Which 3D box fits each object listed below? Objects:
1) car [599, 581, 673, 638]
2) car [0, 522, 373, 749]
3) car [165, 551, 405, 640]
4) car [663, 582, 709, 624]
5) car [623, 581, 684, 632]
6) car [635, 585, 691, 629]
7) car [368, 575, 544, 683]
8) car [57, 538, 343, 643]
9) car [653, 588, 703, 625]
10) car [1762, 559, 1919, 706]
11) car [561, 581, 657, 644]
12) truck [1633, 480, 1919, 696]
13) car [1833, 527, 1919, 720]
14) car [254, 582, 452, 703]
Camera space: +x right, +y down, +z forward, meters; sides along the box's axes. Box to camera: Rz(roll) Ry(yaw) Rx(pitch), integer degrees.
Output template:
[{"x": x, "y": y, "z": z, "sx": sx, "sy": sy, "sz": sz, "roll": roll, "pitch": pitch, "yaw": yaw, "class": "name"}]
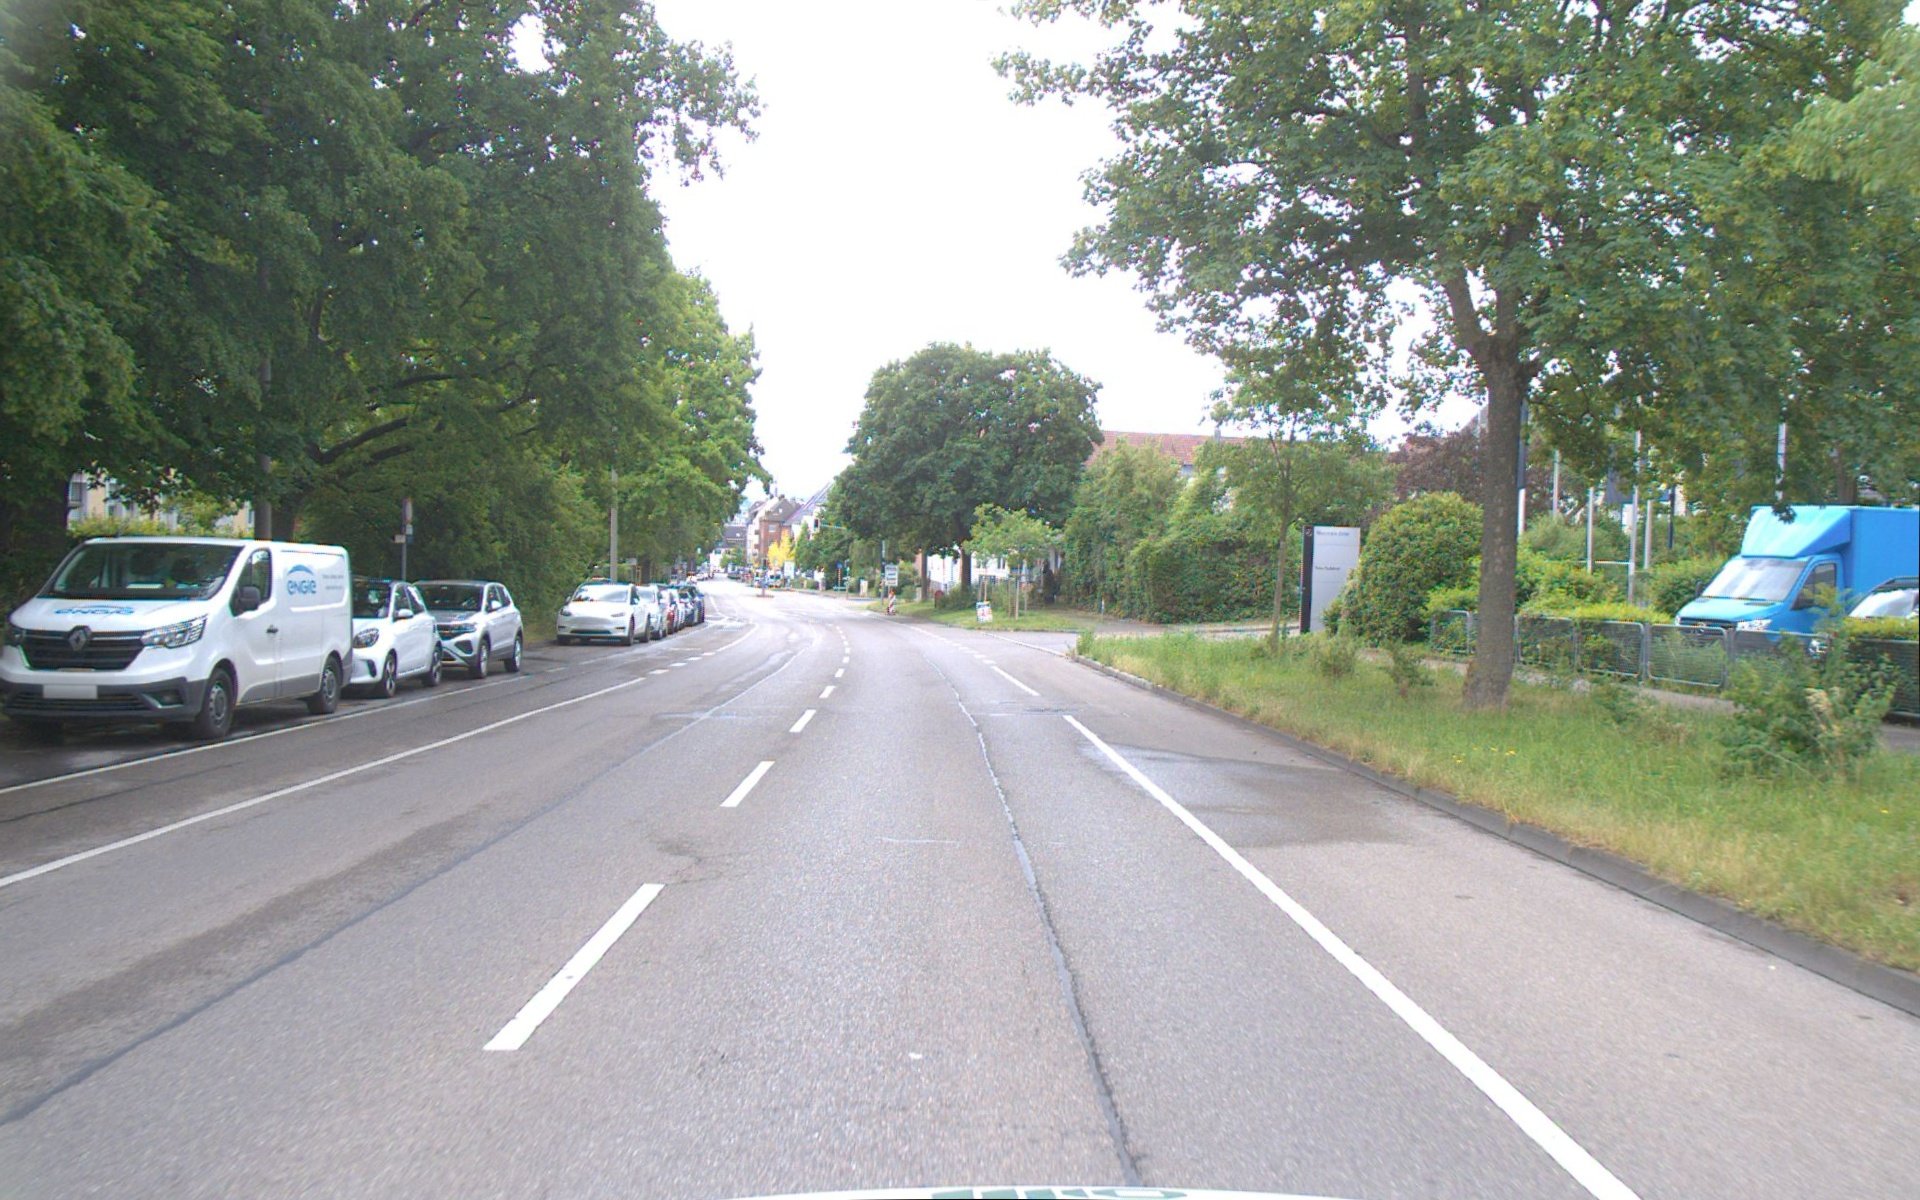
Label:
[{"x": -9.704, "y": 0.283, "z": 49.835, "sx": 1.833, "sy": 1.600, "sz": 4.114, "roll": 2, "pitch": 0, "yaw": -7, "class": "car"}, {"x": -7.930, "y": 0.298, "z": 17.338, "sx": 1.828, "sy": 1.998, "sz": 5.125, "roll": 1, "pitch": 0, "yaw": -2, "class": "car"}, {"x": -14.651, "y": -0.093, "z": 36.085, "sx": 4.343, "sy": 1.479, "sz": 1.887, "roll": 6, "pitch": 0, "yaw": 0, "class": "car"}, {"x": -11.928, "y": 0.105, "z": 72.186, "sx": 1.682, "sy": 1.641, "sz": 4.529, "roll": 2, "pitch": 1, "yaw": -7, "class": "car"}, {"x": -10.226, "y": 0.197, "z": 55.445, "sx": 1.682, "sy": 1.600, "sz": 4.364, "roll": 2, "pitch": 0, "yaw": -7, "class": "car"}, {"x": -10.817, "y": 0.241, "z": 60.484, "sx": 1.682, "sy": 1.485, "sz": 4.750, "roll": 2, "pitch": 0, "yaw": -7, "class": "car"}, {"x": -8.363, "y": 0.439, "z": 27.813, "sx": 1.730, "sy": 1.662, "sz": 4.157, "roll": 1, "pitch": 0, "yaw": -1, "class": "car"}, {"x": -14.043, "y": -0.172, "z": 30.790, "sx": 4.348, "sy": 1.475, "sz": 1.867, "roll": 6, "pitch": 0, "yaw": -6, "class": "car"}, {"x": -11.275, "y": 0.251, "z": 66.308, "sx": 1.682, "sy": 1.413, "sz": 4.332, "roll": 1, "pitch": 0, "yaw": -7, "class": "car"}, {"x": 14.561, "y": 0.507, "z": 25.649, "sx": 3.944, "sy": 2.111, "sz": 1.906, "roll": 2, "pitch": 0, "yaw": -30, "class": "car"}, {"x": -9.378, "y": 0.327, "z": 44.510, "sx": 1.731, "sy": 1.600, "sz": 4.757, "roll": 0, "pitch": 0, "yaw": -2, "class": "car"}, {"x": 15.747, "y": -0.189, "z": 29.840, "sx": 7.073, "sy": 3.538, "sz": 2.598, "roll": 1, "pitch": 1, "yaw": -26, "class": "truck"}, {"x": 14.660, "y": 0.391, "z": 21.900, "sx": 5.932, "sy": 2.408, "sz": 2.344, "roll": 2, "pitch": 0, "yaw": -25, "class": "car"}, {"x": -8.314, "y": 0.530, "z": 22.975, "sx": 1.550, "sy": 1.507, "sz": 3.717, "roll": 1, "pitch": 0, "yaw": -4, "class": "car"}]
